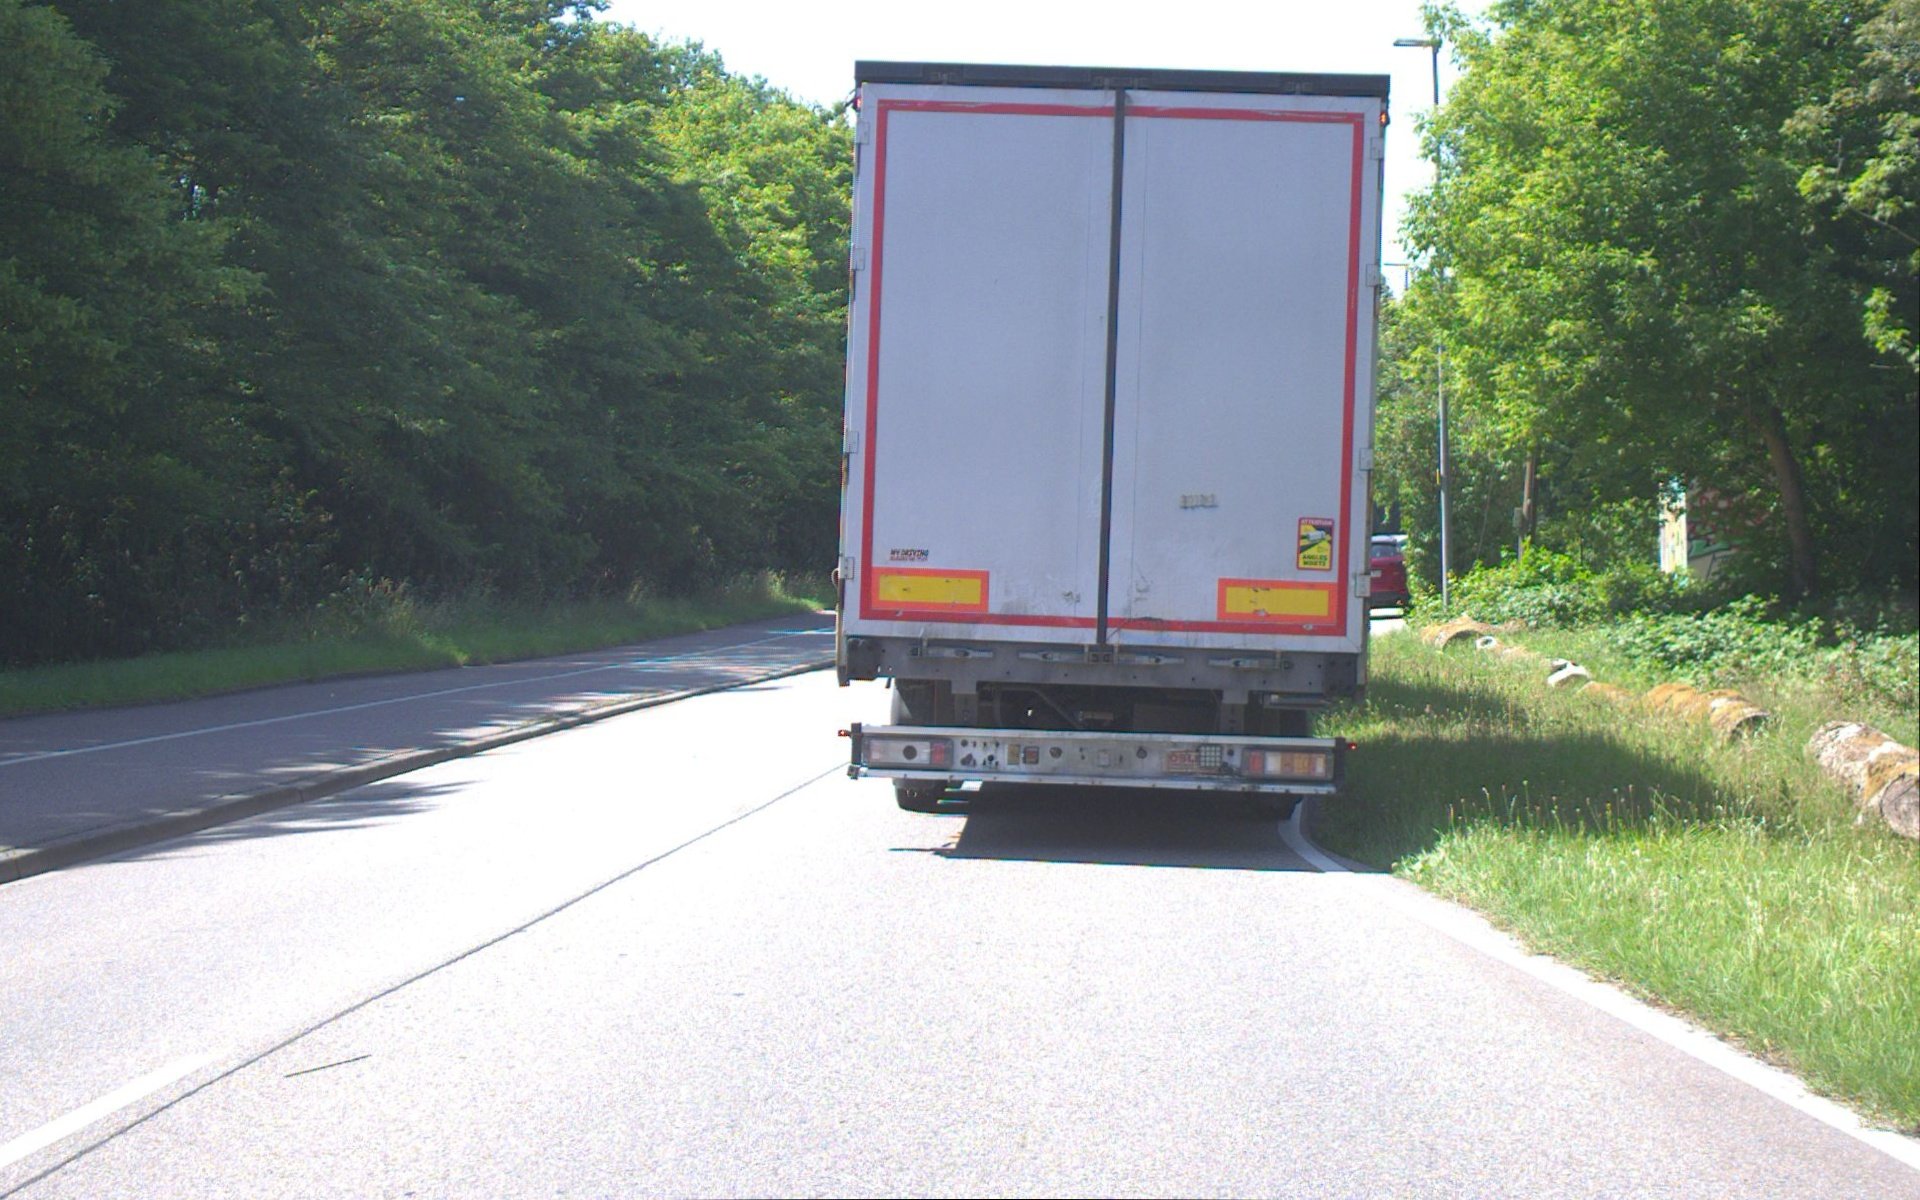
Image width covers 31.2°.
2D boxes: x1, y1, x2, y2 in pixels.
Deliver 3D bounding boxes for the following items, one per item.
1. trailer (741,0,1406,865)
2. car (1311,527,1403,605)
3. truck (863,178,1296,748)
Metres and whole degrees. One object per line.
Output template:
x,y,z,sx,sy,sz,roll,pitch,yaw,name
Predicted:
0.676,-0.891,20.982,3.077,4.056,9.808,0,1,2,trailer
8.015,-0.703,69.612,1.711,1.525,3.850,0,1,4,car
0.961,-1.070,28.494,3.077,4.055,7.959,0,1,2,truck
